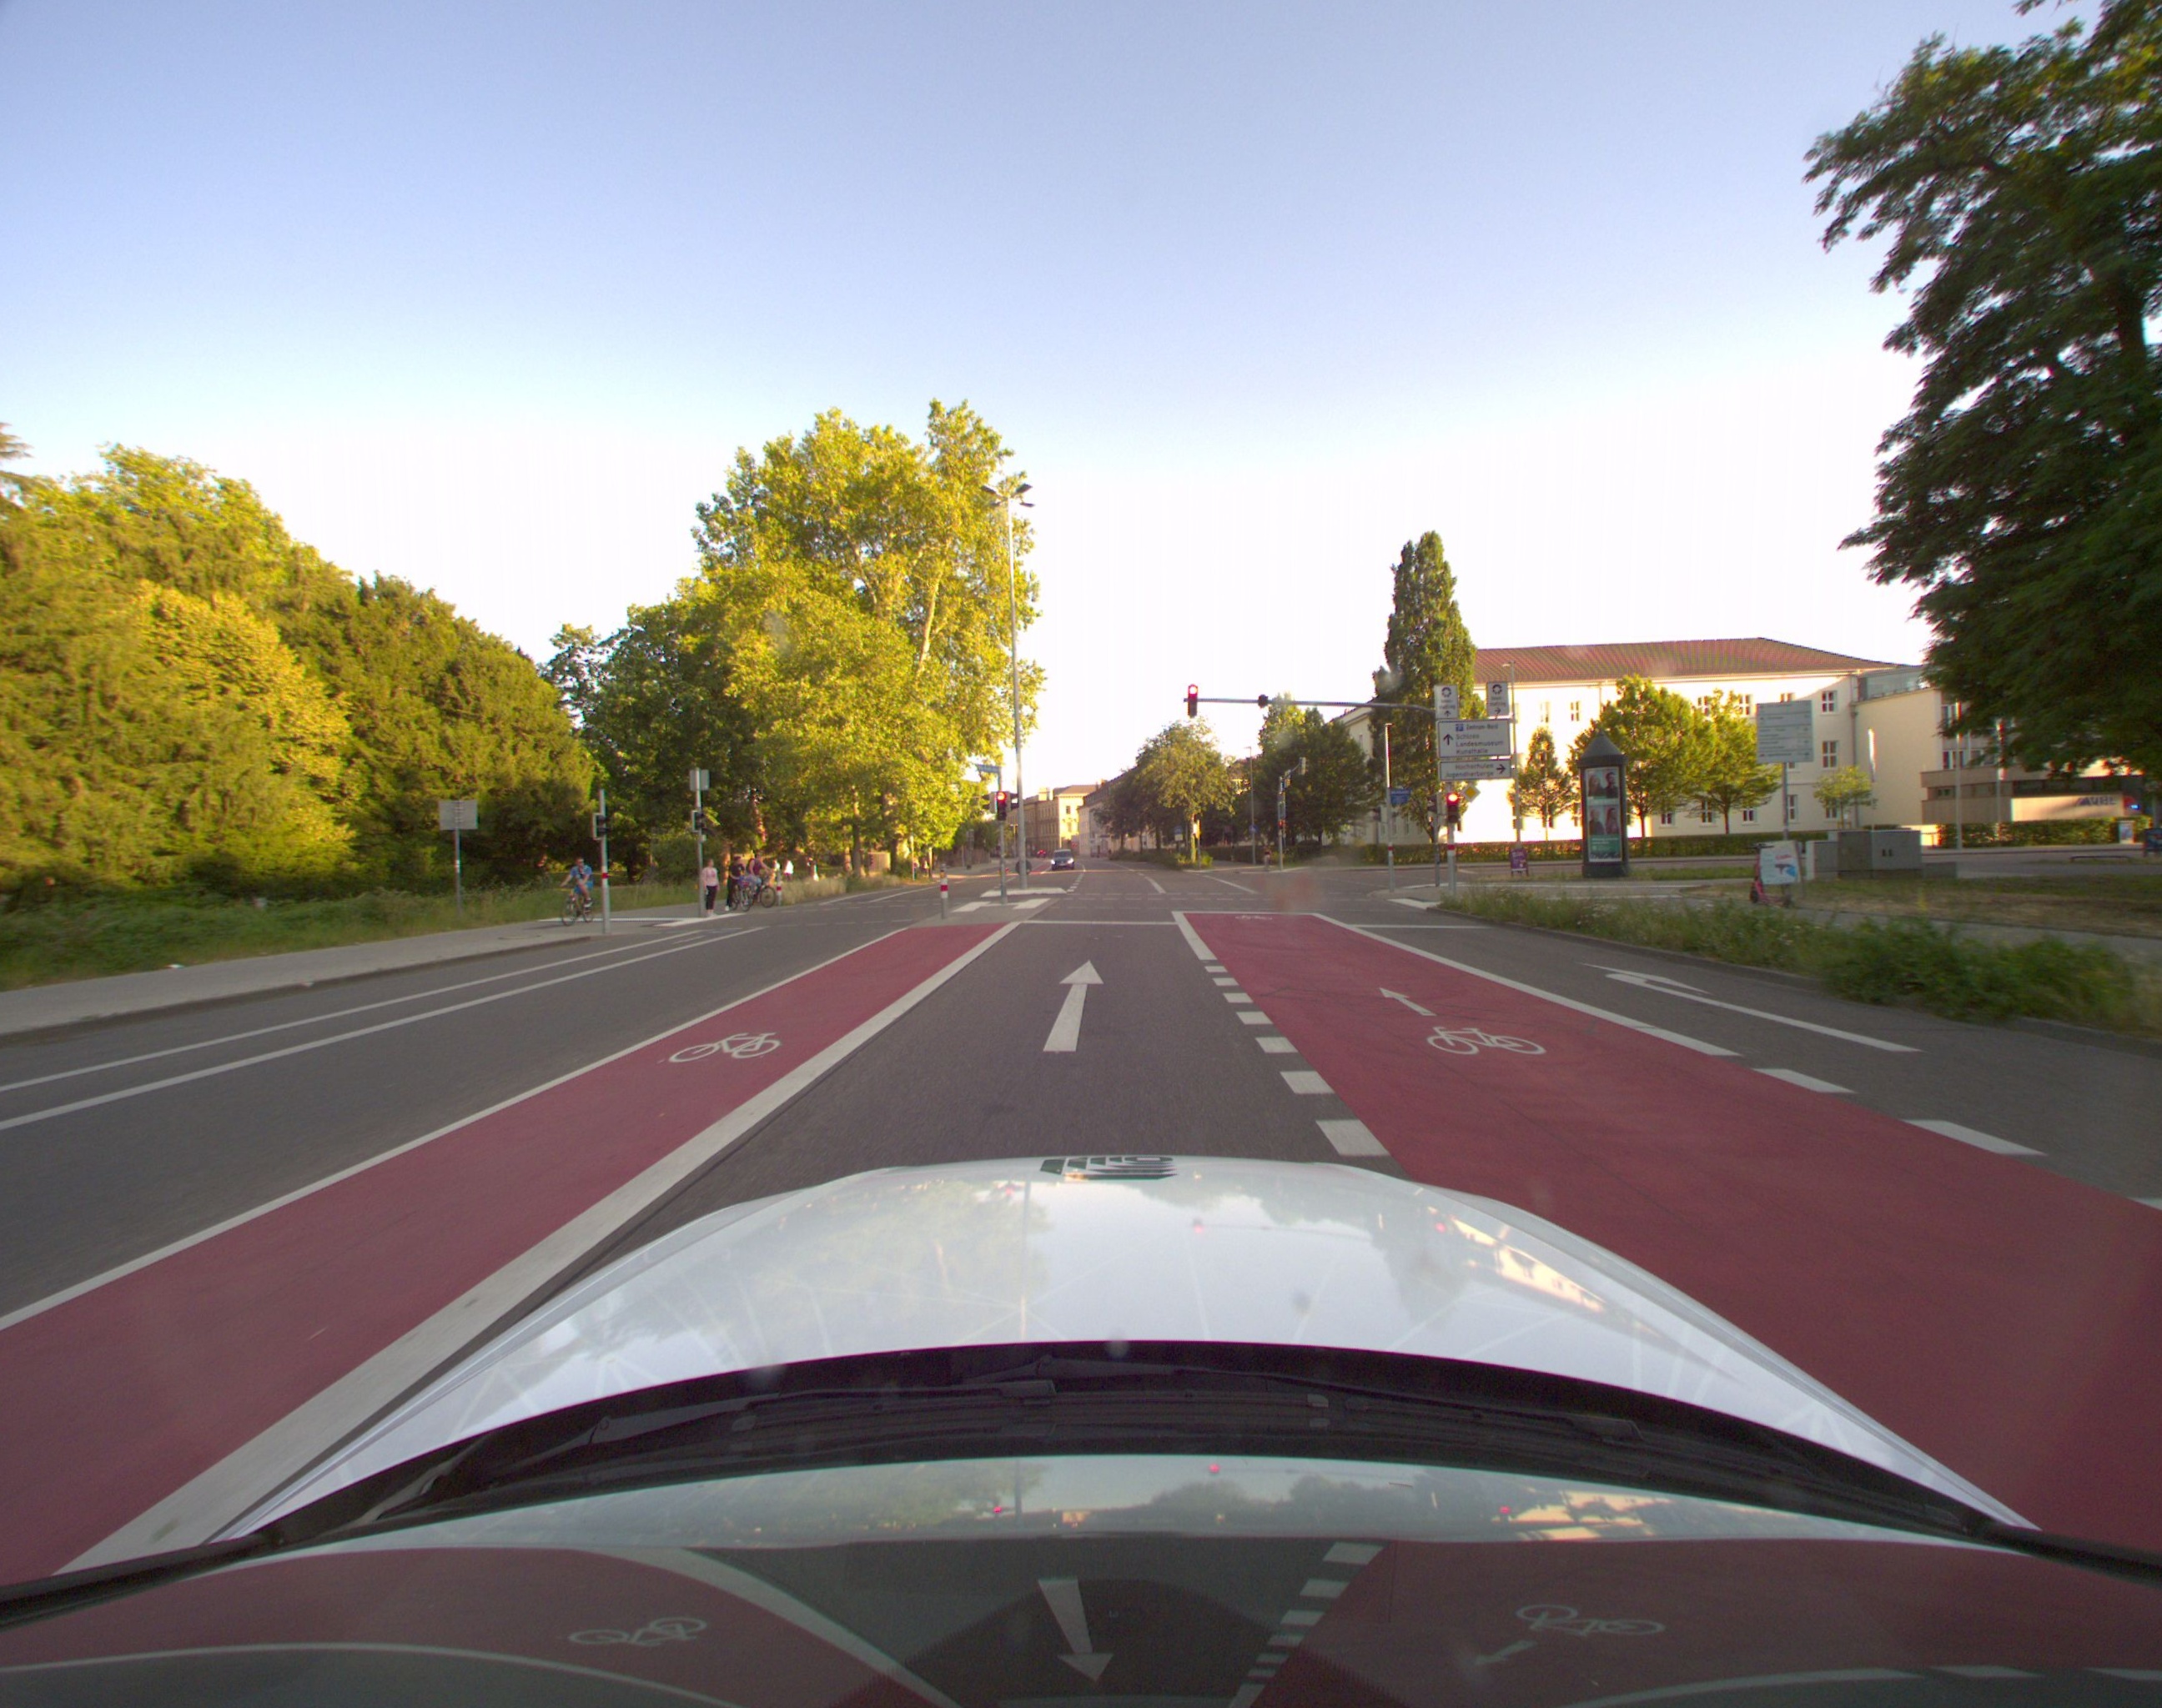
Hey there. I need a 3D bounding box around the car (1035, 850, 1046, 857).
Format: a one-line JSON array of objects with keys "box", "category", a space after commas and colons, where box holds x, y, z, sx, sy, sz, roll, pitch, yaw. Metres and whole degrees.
[{"box": [-9.148, -0.073, 183.096, 1.820, 1.588, 3.984, -3, 0, -11], "category": "car"}]

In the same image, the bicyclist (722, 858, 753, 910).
[{"box": [-11.196, 0.958, 26.568, 0.631, 1.649, 0.634, -2, 0, 33], "category": "bicyclist"}]

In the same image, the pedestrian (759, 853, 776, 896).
[{"box": [-14.758, 0.956, 38.343, 0.598, 2.013, 0.635, -1, 0, -38], "category": "pedestrian"}]

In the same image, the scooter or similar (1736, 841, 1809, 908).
[{"box": [13.409, 0.380, 15.824, 0.309, 1.231, 1.312, -2, 0, 3], "category": "scooter or similar"}]

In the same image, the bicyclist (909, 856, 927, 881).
[{"box": [-10.722, 0.945, 53.699, 0.954, 1.631, 0.753, -2, 0, 3], "category": "bicyclist"}]

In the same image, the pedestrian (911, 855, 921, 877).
[{"box": [-12.388, 0.894, 61.023, 0.533, 1.596, 0.591, -2, 0, 2], "category": "pedestrian"}]

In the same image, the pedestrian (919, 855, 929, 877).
[{"box": [-11.745, 0.884, 60.877, 0.596, 1.573, 0.646, -2, 0, 2], "category": "pedestrian"}]

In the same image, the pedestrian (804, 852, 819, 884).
[{"box": [-17.265, 0.895, 52.110, 0.637, 2.013, 0.702, -2, 0, 4], "category": "pedestrian"}]

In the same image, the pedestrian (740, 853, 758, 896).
[{"box": [-15.630, 0.961, 38.361, 0.654, 2.013, 0.599, -1, 0, -36], "category": "pedestrian"}]

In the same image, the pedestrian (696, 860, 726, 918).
[{"box": [-11.088, 1.034, 24.417, 0.604, 1.695, 0.499, -2, 0, 4], "category": "pedestrian"}]

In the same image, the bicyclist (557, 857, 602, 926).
[{"box": [-13.742, 1.016, 22.319, 0.733, 1.824, 0.711, -2, 0, -4], "category": "bicyclist"}]

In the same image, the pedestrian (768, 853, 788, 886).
[{"box": [-19.177, 0.963, 51.580, 0.799, 2.013, 0.994, -1, 0, 2], "category": "pedestrian"}]

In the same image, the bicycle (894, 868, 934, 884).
[{"box": [-11.023, 1.444, 53.712, 2.420, 0.924, 0.775, -2, 0, 3], "category": "bicycle"}]

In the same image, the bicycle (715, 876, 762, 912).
[{"box": [-11.169, 1.298, 26.557, 1.548, 1.111, 0.637, -2, 0, 33], "category": "bicycle"}]

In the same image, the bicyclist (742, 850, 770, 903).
[{"box": [-11.288, 0.780, 28.272, 0.631, 1.780, 0.580, -2, 0, 33], "category": "bicyclist"}]

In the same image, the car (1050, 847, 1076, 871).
[{"box": [-1.416, 0.401, 65.514, 1.843, 1.720, 4.296, -4, 0, 1], "category": "car"}]

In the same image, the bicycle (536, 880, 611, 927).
[{"box": [-13.704, 1.311, 22.060, 0.768, 1.100, 2.120, -2, 0, -3], "category": "bicycle"}]

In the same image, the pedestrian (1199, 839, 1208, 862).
[{"box": [10.698, -0.287, 71.112, 0.633, 2.013, 0.720, -1, 0, -1], "category": "pedestrian"}]

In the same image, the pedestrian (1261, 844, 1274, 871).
[{"box": [11.354, 0.187, 49.573, 0.597, 1.636, 0.692, -1, 1, 3], "category": "pedestrian"}]

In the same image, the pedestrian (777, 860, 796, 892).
[{"box": [-19.063, 1.416, 52.804, 0.757, 2.013, 1.078, -1, 0, 4], "category": "pedestrian"}]

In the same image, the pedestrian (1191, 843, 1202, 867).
[{"box": [9.948, 0.099, 70.300, 0.866, 2.013, 0.723, -1, 0, 2], "category": "pedestrian"}]

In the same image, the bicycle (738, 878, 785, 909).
[{"box": [-11.043, 1.359, 28.126, 1.749, 1.030, 0.583, -2, 0, 33], "category": "bicycle"}]

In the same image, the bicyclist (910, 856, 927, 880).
[{"box": [-11.000, 0.946, 55.084, 0.954, 1.631, 0.753, -2, 0, 3], "category": "bicyclist"}]

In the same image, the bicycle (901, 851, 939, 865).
[{"box": [-10.889, 0.268, 55.089, 2.420, 0.924, 0.775, -2, 0, 3], "category": "bicycle"}]
